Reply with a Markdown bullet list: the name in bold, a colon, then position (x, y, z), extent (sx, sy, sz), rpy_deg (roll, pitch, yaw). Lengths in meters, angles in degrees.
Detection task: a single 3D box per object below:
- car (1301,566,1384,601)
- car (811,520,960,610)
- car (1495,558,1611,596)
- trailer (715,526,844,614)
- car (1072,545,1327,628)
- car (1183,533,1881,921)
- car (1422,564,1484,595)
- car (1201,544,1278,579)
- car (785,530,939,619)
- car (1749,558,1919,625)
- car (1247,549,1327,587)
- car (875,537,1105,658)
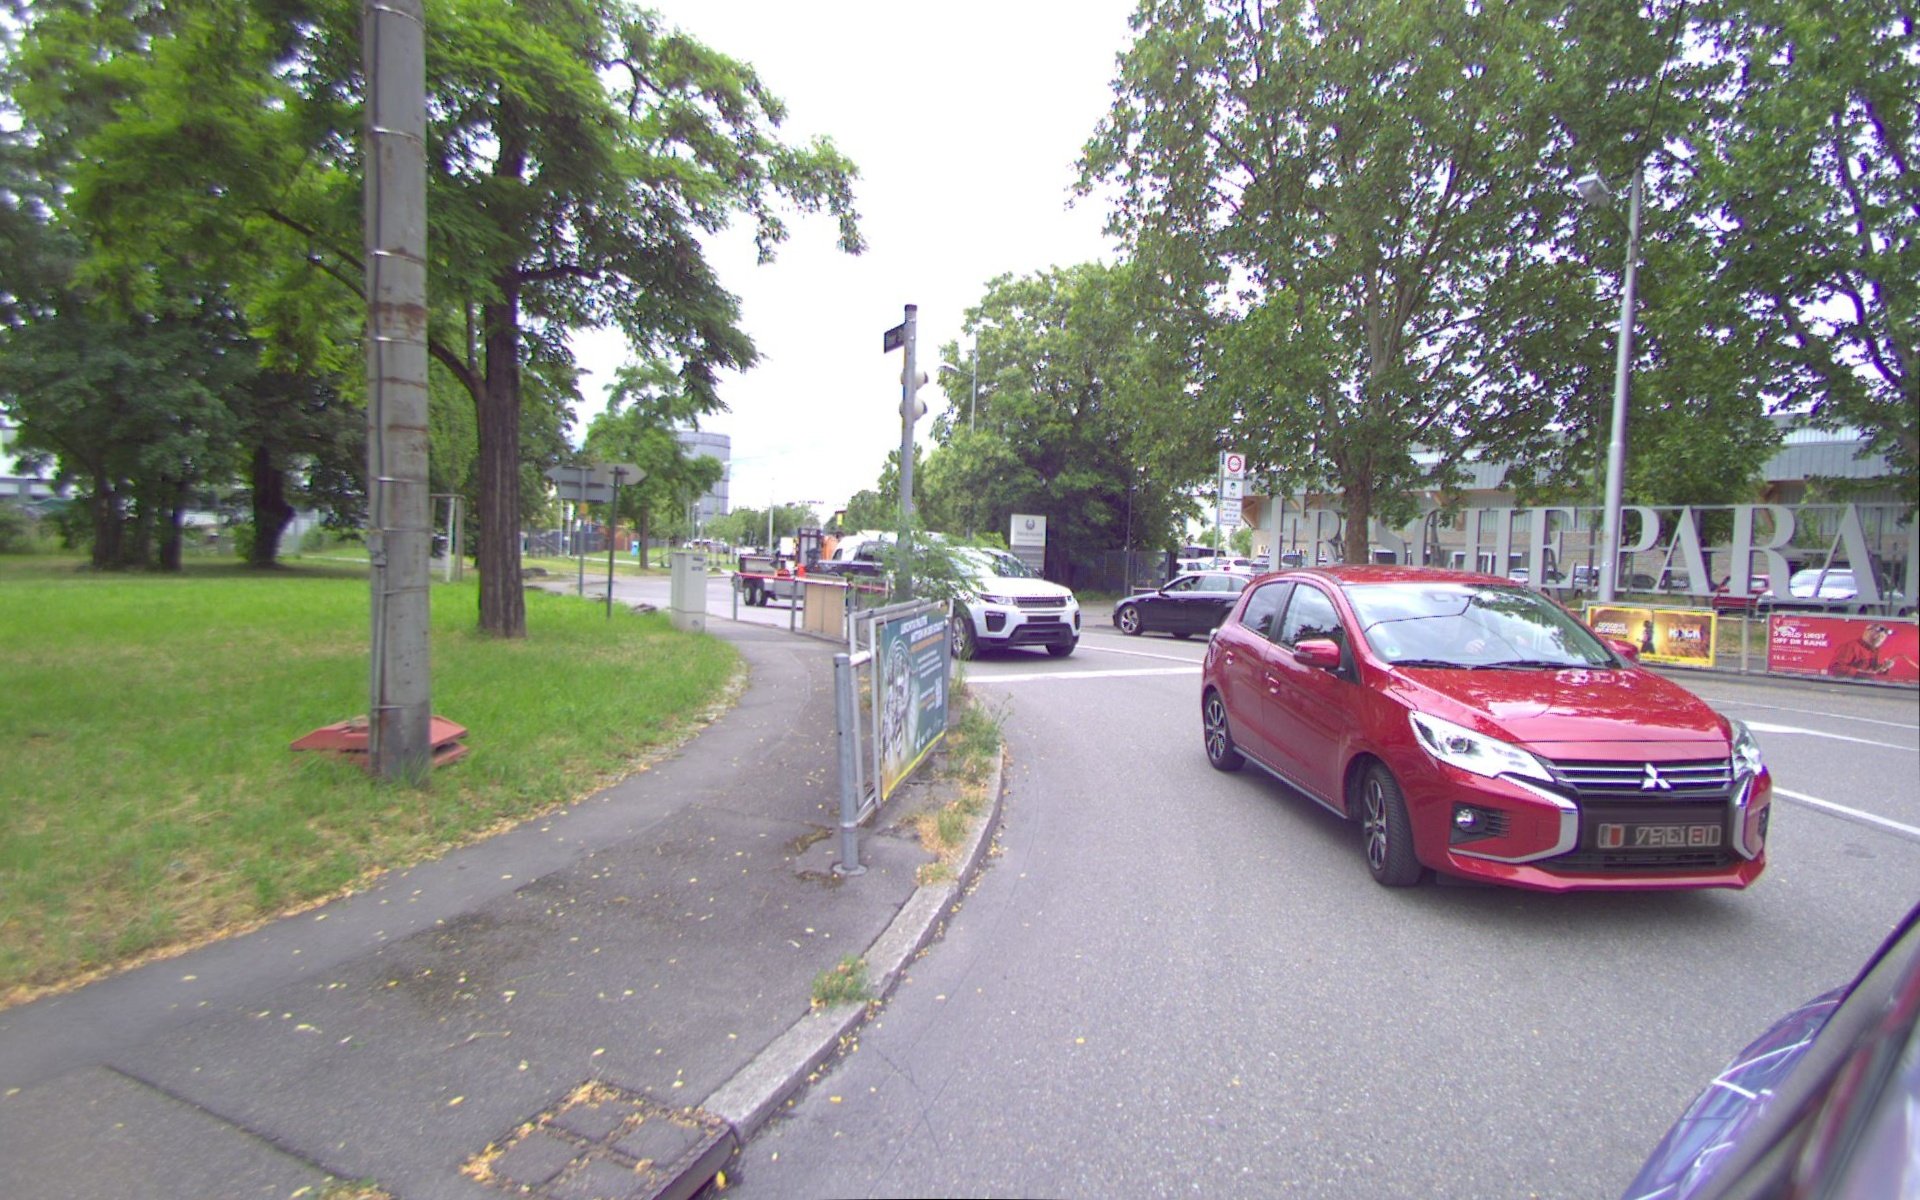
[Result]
- **car**: position (18.181, -0.787, 48.057), extent (3.927, 1.526, 1.916), rpy_deg (0, 4, -39)
- **car**: position (-2.535, -1.034, 32.289), extent (2.149, 2.573, 6.490), rpy_deg (-1, 1, -30)
- **car**: position (23.889, -0.918, 40.700), extent (5.150, 1.449, 1.939), rpy_deg (-1, 1, -33)
- **trailer**: position (-5.662, -0.982, 31.029), extent (2.108, 2.416, 5.396), rpy_deg (1, 3, -30)
- **car**: position (4.805, -0.171, 21.125), extent (1.962, 1.476, 5.220), rpy_deg (3, -3, -35)
- **car**: position (2.732, 0.439, 5.949), extent (1.733, 1.548, 3.745), rpy_deg (0, 2, -4)
- **car**: position (27.660, -1.164, 56.786), extent (3.507, 1.705, 1.752), rpy_deg (-1, 1, -38)
- **car**: position (14.873, -2.031, 53.768), extent (3.927, 1.721, 1.916), rpy_deg (0, 3, -39)
- **car**: position (-2.701, -0.785, 26.172), extent (1.911, 2.003, 5.883), rpy_deg (-1, 4, -27)
- **car**: position (21.354, -0.234, 24.454), extent (4.606, 1.475, 2.002), rpy_deg (-1, 1, -30)
- **car**: position (16.455, -1.614, 50.849), extent (3.927, 1.721, 1.916), rpy_deg (0, 3, -39)
- **car**: position (0.301, -0.170, 15.720), extent (1.878, 1.588, 4.122), rpy_deg (-2, 4, -26)
